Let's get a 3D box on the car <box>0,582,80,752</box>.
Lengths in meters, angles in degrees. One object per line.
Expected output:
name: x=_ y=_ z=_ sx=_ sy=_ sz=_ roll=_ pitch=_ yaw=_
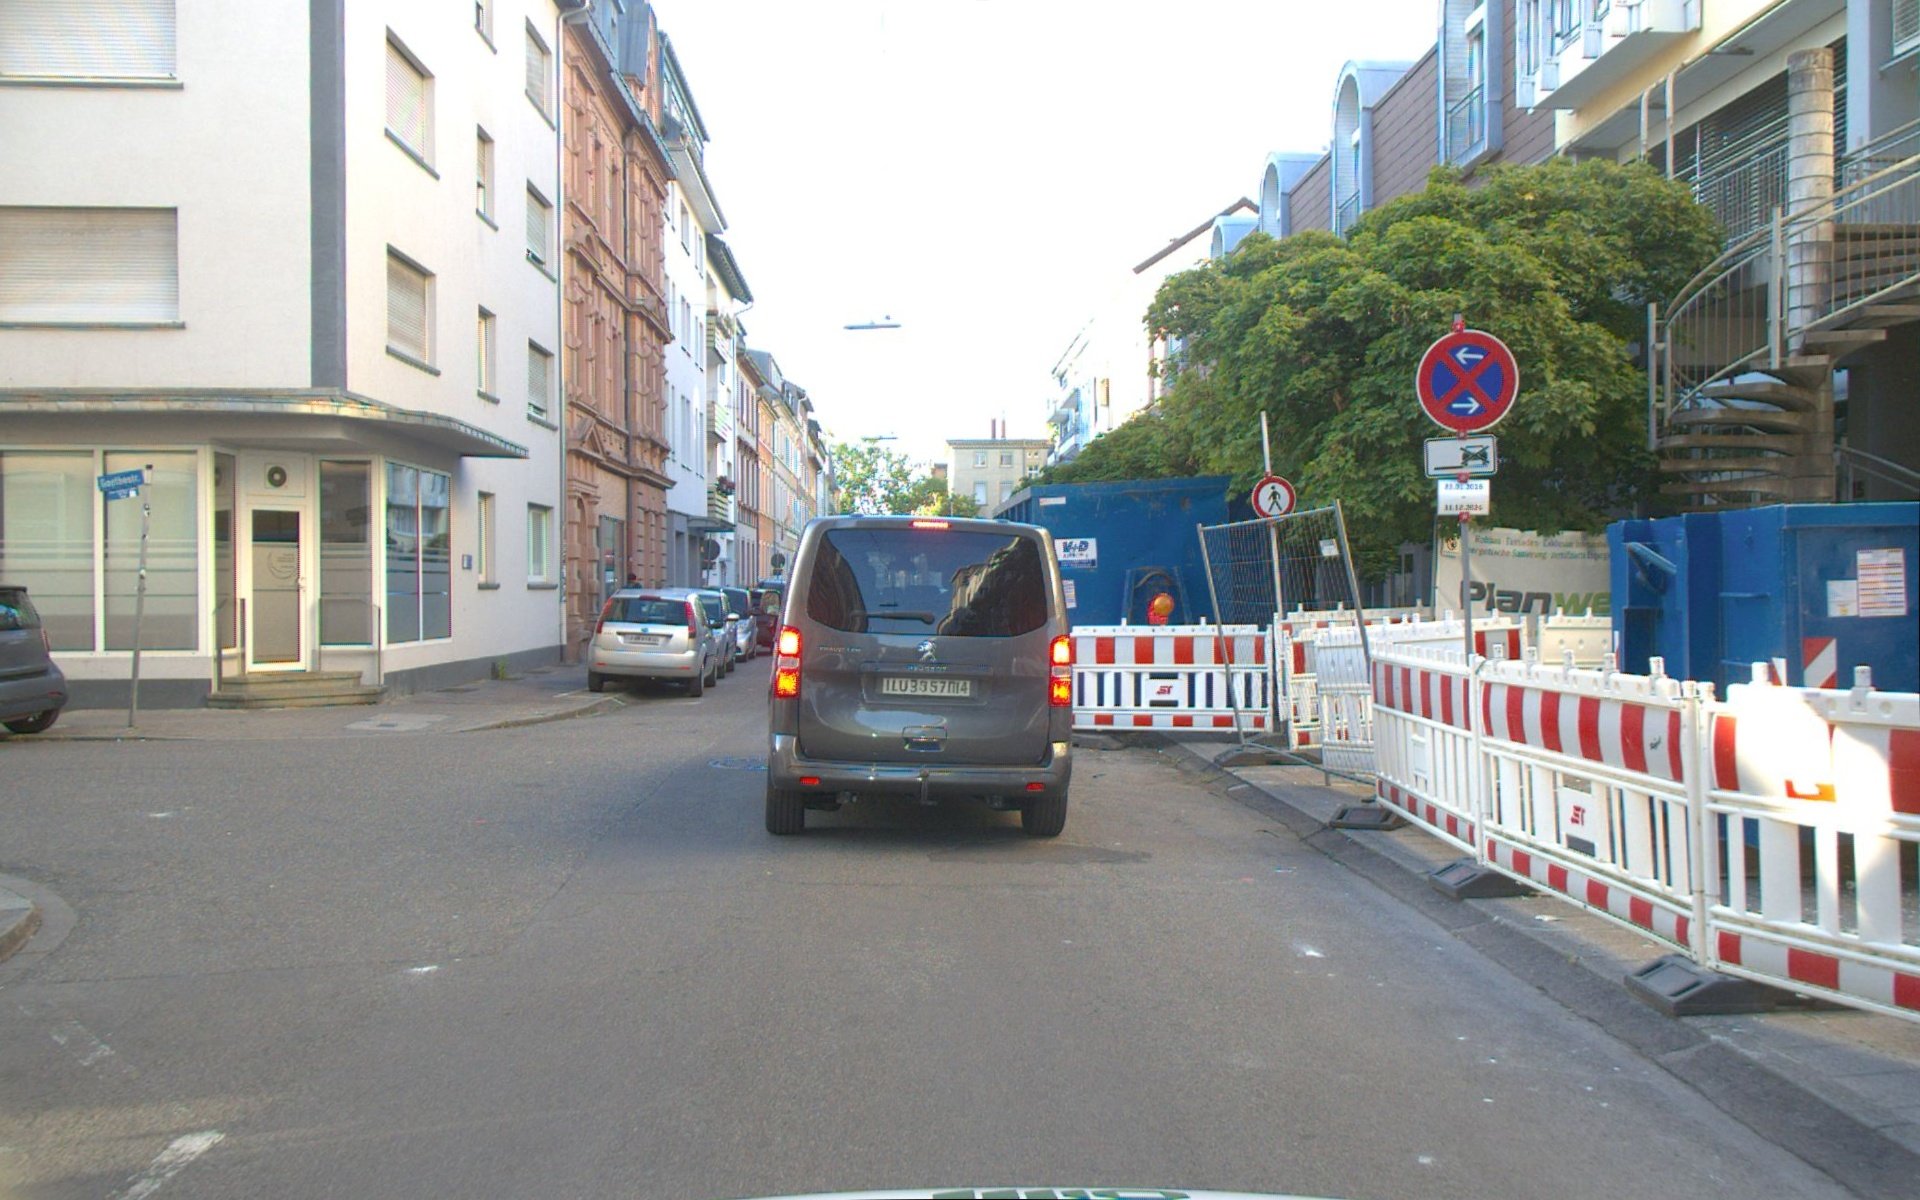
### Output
car: x=-10.236 y=0.595 z=15.835 sx=2.730 sy=1.567 sz=1.593 roll=1 pitch=0 yaw=-2

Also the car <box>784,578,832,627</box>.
car: x=-6.454 y=0.108 z=70.011 sx=1.855 sy=1.878 sz=4.343 roll=4 pitch=-1 yaw=-6

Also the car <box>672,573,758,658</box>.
car: x=-5.417 y=0.335 z=36.851 sx=1.634 sy=1.694 sz=3.088 roll=4 pitch=-1 yaw=-6

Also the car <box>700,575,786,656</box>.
car: x=-5.266 y=0.365 z=40.494 sx=1.855 sy=1.749 sz=3.749 roll=4 pitch=-1 yaw=-6

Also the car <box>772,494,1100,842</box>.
car: x=-0.326 y=0.383 z=11.329 sx=1.829 sy=1.919 sz=4.230 roll=0 pitch=0 yaw=-6

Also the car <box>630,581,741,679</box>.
car: x=-4.882 y=0.514 z=29.764 sx=1.624 sy=1.552 sz=3.414 roll=4 pitch=-1 yaw=-6

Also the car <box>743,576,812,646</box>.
car: x=-5.483 y=0.333 z=49.857 sx=1.855 sy=1.878 sz=4.343 roll=4 pitch=-1 yaw=-6

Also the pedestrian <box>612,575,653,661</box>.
pedestrian: x=-6.493 y=0.347 z=32.828 sx=0.726 sy=1.693 sz=0.703 roll=-1 pitch=0 yaw=-7

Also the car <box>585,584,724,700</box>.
car: x=-4.439 y=0.580 z=24.453 sx=1.624 sy=1.485 sz=3.414 roll=4 pitch=-1 yaw=-6

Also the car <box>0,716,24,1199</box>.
car: x=-2.915 y=0.784 z=1.414 sx=1.882 sy=1.533 sz=4.265 roll=-3 pitch=1 yaw=-2
